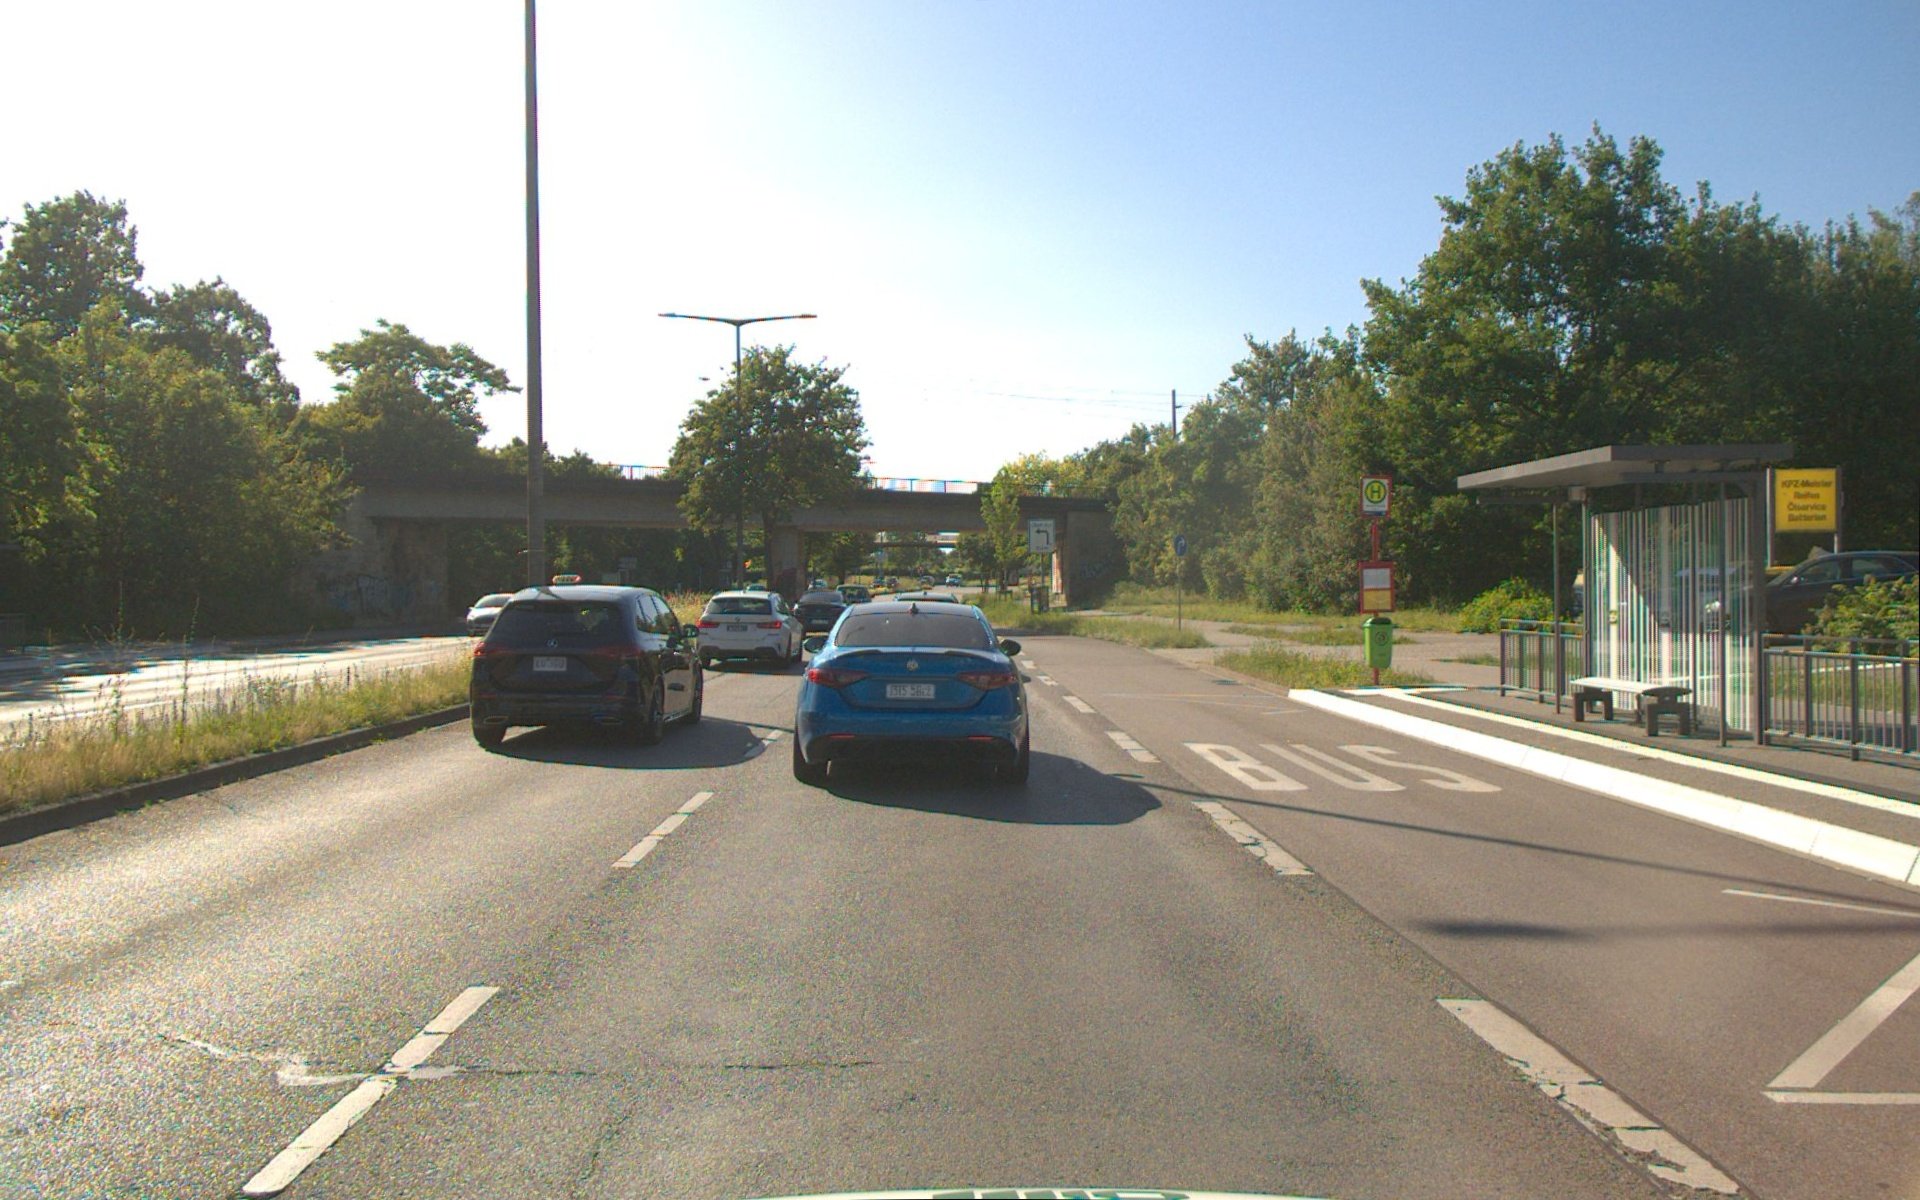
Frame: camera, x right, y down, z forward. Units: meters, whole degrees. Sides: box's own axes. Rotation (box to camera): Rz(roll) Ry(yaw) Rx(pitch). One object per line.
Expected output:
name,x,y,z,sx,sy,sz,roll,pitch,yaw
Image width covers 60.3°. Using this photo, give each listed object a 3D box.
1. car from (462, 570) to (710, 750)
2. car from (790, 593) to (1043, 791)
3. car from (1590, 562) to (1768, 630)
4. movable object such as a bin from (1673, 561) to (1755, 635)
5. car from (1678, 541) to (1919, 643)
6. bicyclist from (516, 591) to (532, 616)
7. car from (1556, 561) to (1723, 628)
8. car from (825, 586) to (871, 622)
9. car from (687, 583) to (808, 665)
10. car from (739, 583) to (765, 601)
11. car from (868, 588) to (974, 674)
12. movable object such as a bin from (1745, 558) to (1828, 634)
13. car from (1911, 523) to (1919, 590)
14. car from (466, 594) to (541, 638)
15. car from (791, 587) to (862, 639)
car,-3.742,0.546,17.253,1.673,1.626,4.223,1,0,-1
car,-0.354,0.672,14.274,1.845,1.431,4.223,1,0,-1
car,16.043,-0.097,37.014,3.216,1.442,1.728,1,0,0
movable object such as a bin,15.173,-0.044,33.296,0.981,1.453,1.240,-1,1,-44
car,15.891,-0.155,30.764,4.459,1.668,1.799,-3,0,29
bicyclist,-25.322,0.198,95.993,0.666,1.426,1.026,1,0,-1
car,16.026,-0.122,39.125,3.216,1.512,1.772,1,0,0
car,-4.797,0.140,71.275,1.743,1.479,4.181,-1,1,-1
car,-4.091,0.437,32.495,1.845,1.479,4.525,1,0,-1
car,-17.750,-0.688,141.122,1.779,1.467,4.089,-1,0,-1
car,-0.723,0.534,31.205,1.845,1.479,4.525,1,0,-1
movable object such as a bin,16.348,-0.083,32.718,0.981,1.453,1.205,-1,1,-44
car,24.191,-1.106,37.737,3.955,1.558,1.734,-3,0,0
car,-16.500,0.564,59.929,1.608,1.476,4.110,-3,0,-1
car,-3.992,0.374,50.072,1.845,1.479,4.525,1,0,-1
